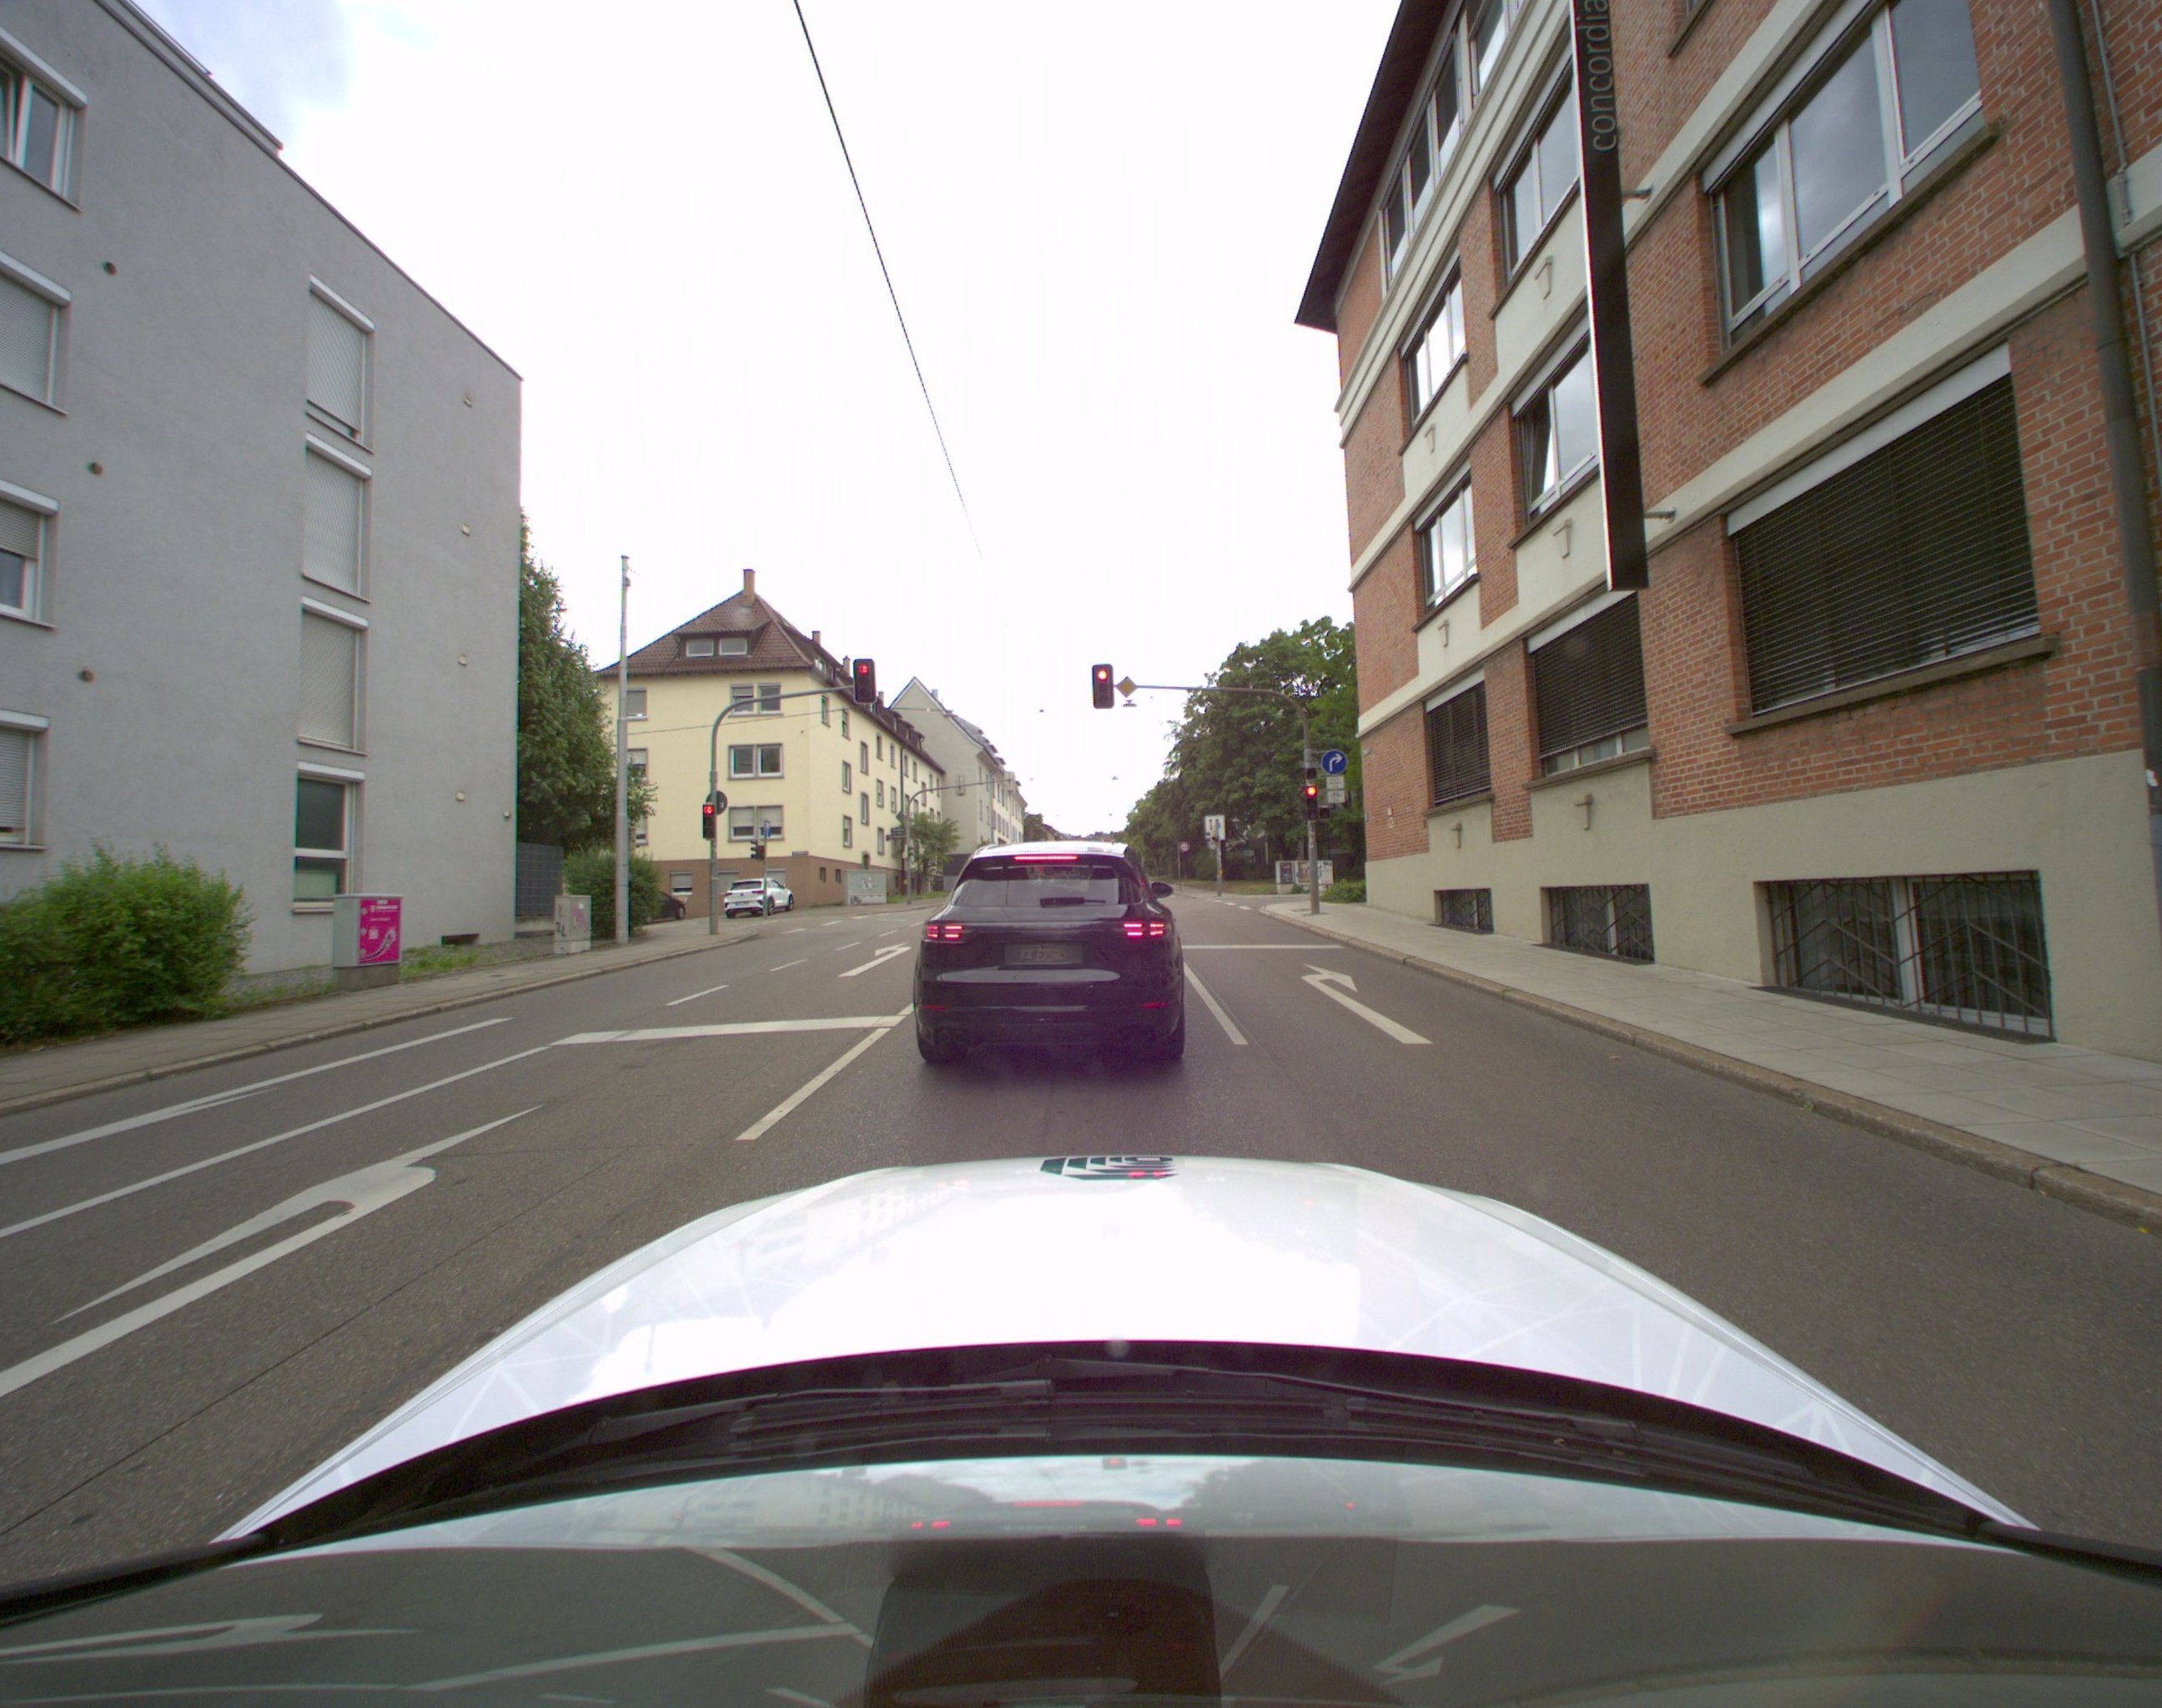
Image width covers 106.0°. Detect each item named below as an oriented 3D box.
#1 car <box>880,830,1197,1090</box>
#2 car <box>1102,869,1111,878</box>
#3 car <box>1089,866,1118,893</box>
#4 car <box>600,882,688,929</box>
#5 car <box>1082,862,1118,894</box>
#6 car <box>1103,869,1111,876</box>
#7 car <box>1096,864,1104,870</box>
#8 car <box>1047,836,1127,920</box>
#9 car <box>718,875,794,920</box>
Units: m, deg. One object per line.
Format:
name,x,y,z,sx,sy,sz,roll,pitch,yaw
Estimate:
car,-0.198,0.684,7.376,2.040,1.666,4.269,0,0,2
car,5.061,3.867,163.371,1.820,1.605,4.137,0,0,2
car,1.471,1.640,52.644,1.820,1.605,3.860,0,0,2
car,-18.497,2.133,34.649,1.686,1.608,3.763,-4,0,-2
car,1.055,1.263,43.936,1.820,1.605,4.137,0,0,2
car,5.901,4.095,182.537,1.820,1.605,4.137,0,0,2
car,4.697,3.257,203.060,1.820,1.605,4.137,0,0,2
car,0.225,0.596,22.027,1.957,2.042,4.137,0,0,2
car,-13.533,1.769,34.184,1.686,1.555,3.763,-4,0,-2
